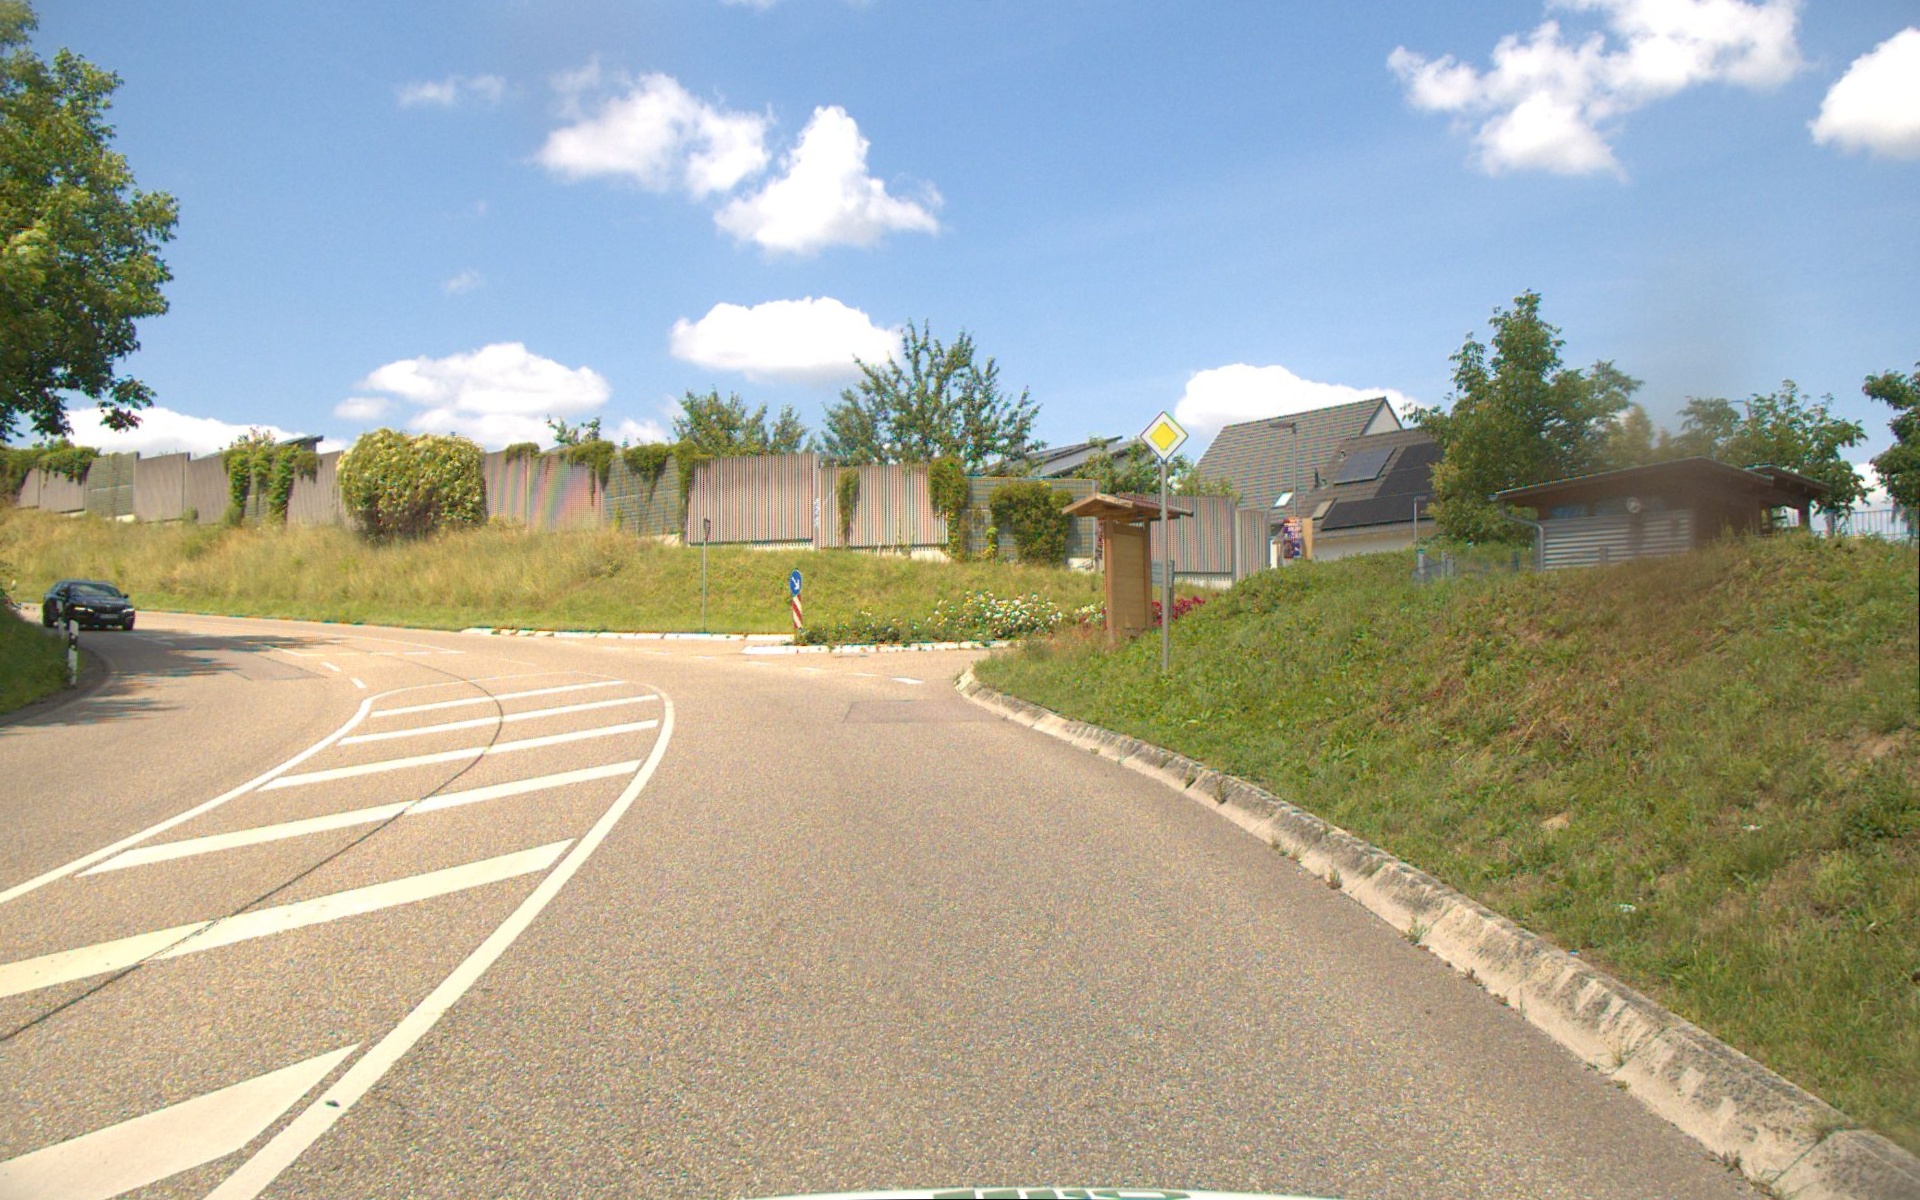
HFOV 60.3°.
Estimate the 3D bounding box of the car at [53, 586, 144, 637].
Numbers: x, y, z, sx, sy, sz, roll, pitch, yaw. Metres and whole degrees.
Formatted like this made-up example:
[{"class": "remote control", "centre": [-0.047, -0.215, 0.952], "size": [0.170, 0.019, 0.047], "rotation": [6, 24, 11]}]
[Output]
[{"class": "car", "centre": [-26.043, 0.354, 49.923], "size": [1.673, 1.444, 4.284], "rotation": [-1, 0, -38]}]
